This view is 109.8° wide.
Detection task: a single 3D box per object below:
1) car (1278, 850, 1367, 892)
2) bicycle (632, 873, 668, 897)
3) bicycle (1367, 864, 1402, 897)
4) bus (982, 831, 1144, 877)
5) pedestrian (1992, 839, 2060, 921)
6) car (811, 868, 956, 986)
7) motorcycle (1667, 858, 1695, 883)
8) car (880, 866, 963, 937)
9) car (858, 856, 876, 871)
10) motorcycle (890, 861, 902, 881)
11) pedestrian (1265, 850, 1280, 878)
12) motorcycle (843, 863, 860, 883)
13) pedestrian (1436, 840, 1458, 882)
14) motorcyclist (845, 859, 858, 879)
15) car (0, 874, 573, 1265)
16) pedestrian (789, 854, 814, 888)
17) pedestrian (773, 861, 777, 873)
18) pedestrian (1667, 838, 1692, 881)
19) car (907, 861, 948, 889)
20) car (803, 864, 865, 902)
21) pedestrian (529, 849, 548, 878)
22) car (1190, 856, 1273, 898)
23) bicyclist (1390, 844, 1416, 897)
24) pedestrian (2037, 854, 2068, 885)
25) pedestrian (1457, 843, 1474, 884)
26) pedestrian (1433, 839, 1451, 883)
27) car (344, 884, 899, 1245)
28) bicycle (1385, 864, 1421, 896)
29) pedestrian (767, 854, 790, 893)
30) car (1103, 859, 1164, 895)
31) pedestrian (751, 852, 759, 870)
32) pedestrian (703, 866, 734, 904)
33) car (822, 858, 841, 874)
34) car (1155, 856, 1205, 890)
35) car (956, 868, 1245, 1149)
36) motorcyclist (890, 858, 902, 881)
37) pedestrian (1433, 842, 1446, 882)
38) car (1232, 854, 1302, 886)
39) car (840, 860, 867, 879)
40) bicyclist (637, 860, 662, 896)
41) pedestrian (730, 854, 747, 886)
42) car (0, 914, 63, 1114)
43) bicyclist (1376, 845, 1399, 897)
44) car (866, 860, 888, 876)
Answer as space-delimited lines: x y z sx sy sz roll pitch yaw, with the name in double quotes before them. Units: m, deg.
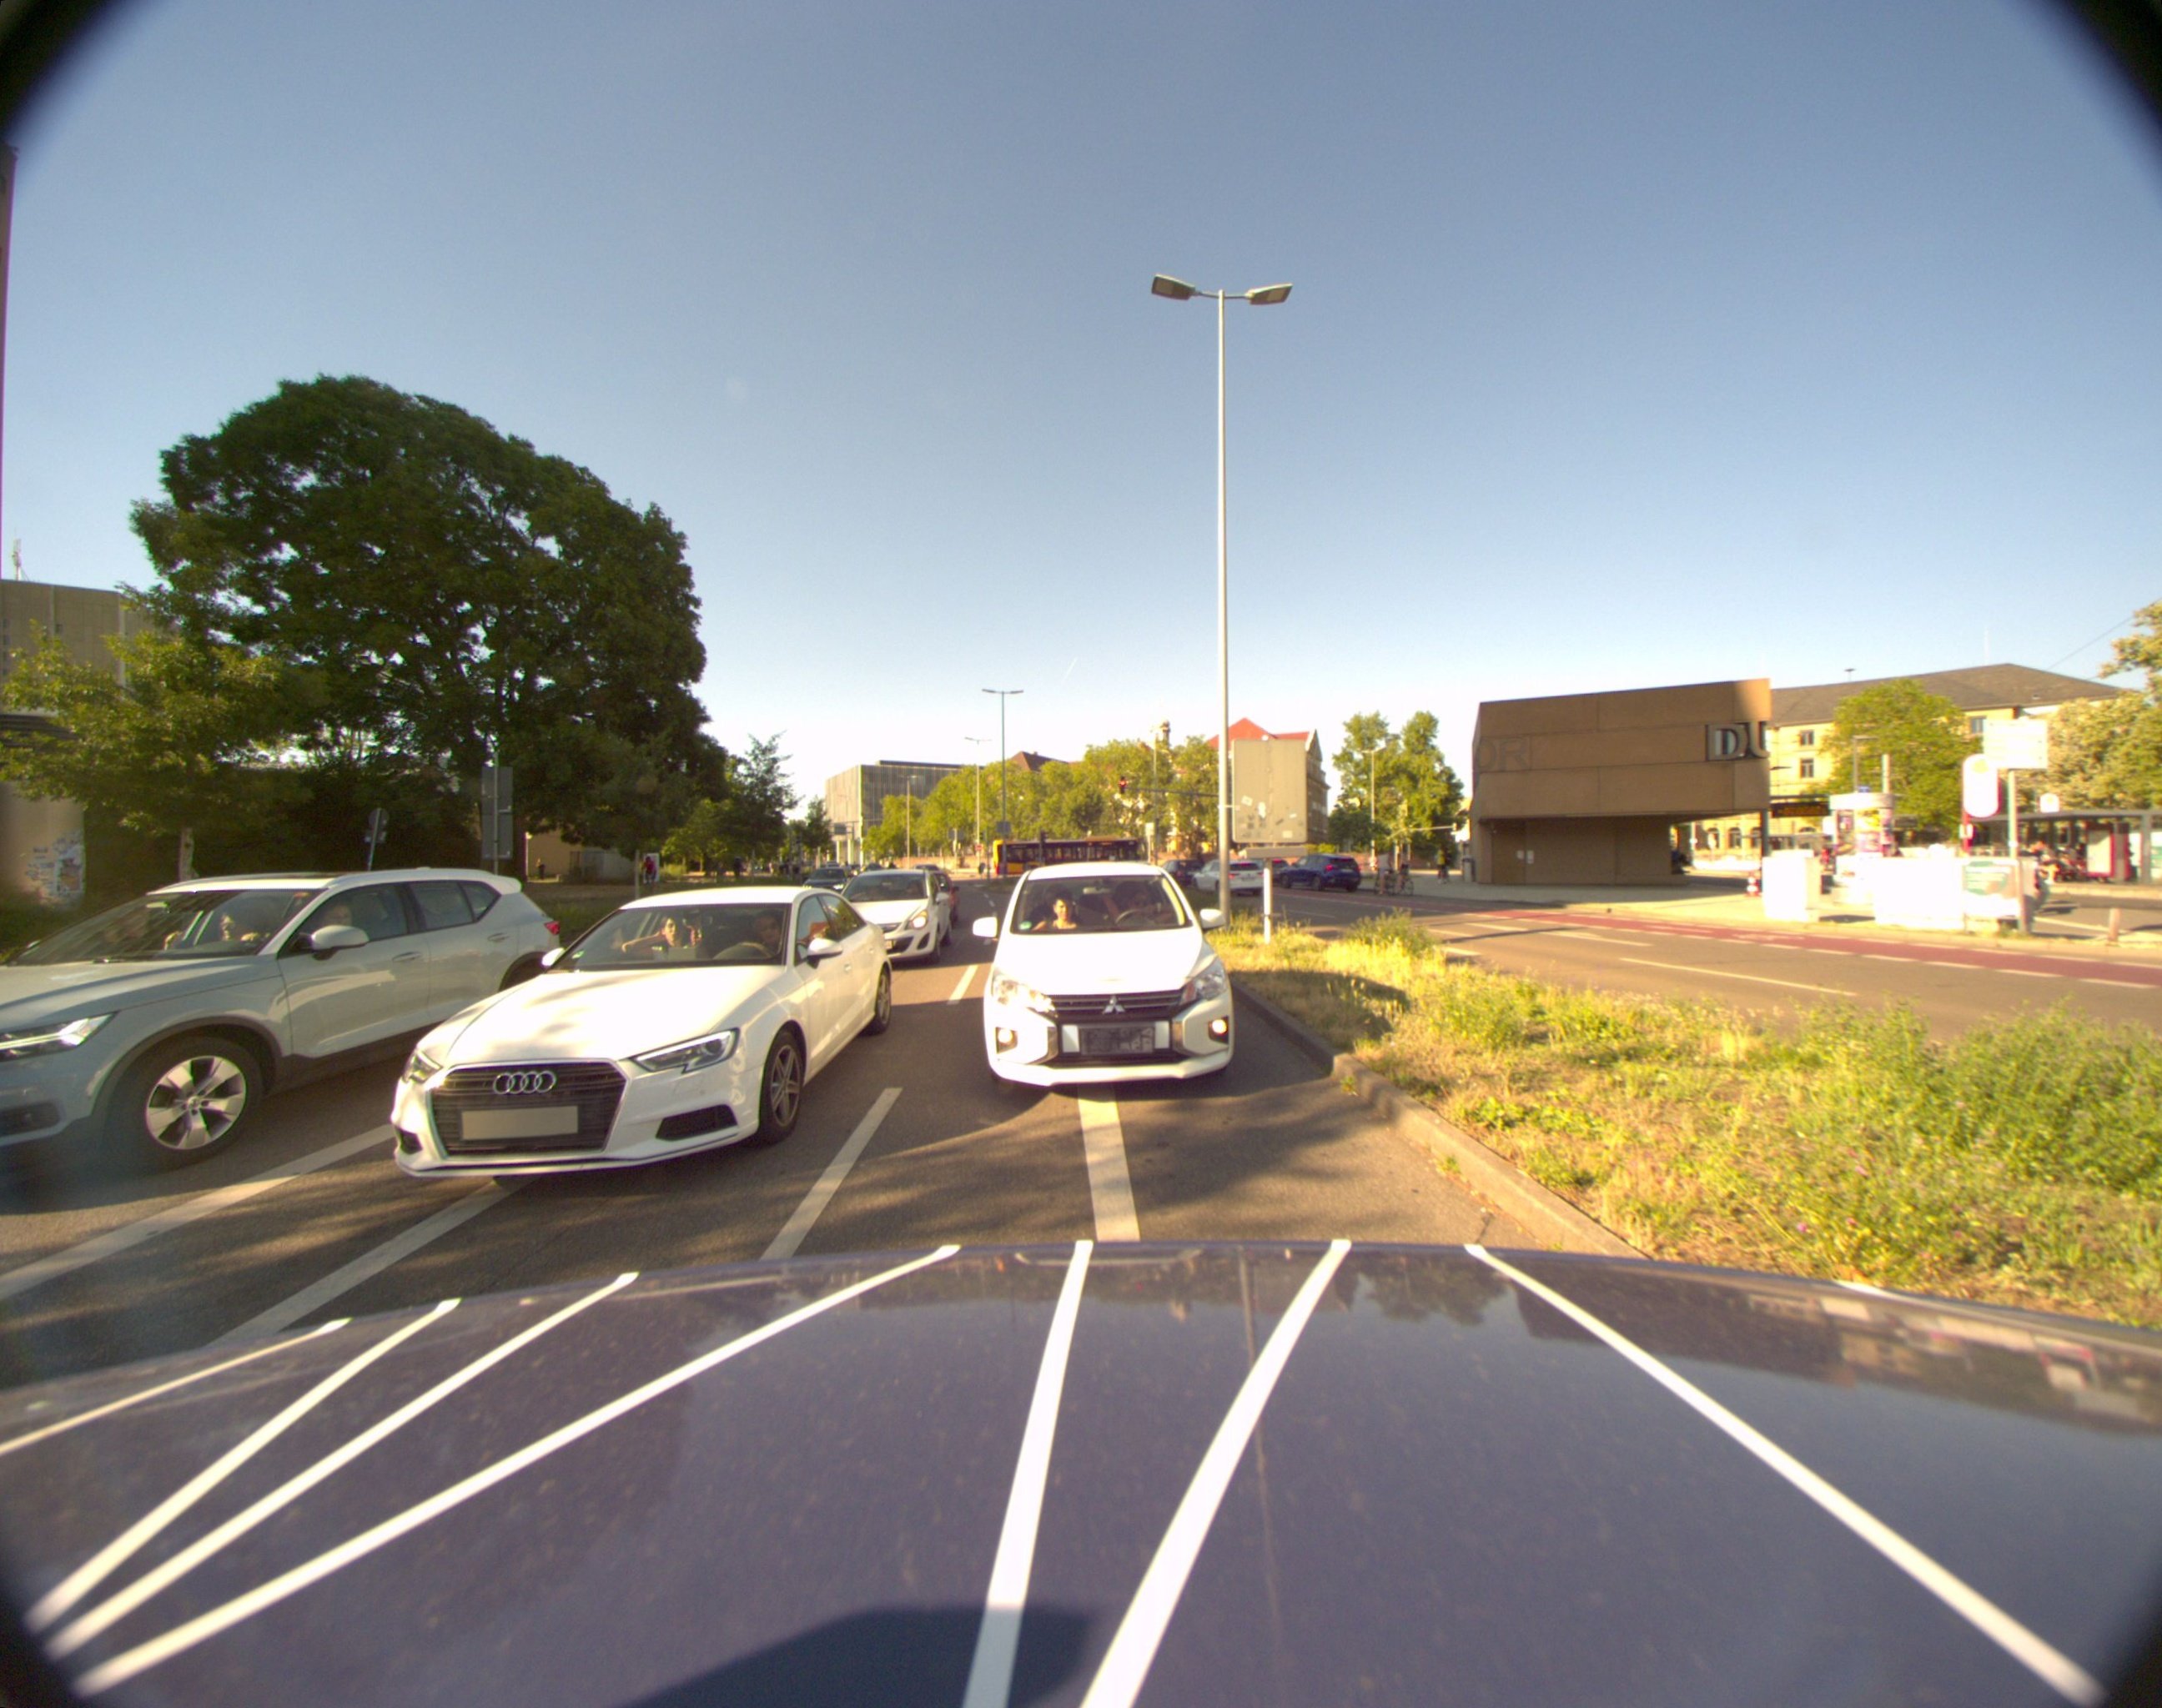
"car" 10.438 0.690 33.210 1.757 1.680 4.183 -1 0 -14
"bicycle" -19.157 1.369 33.789 0.660 0.958 2.033 0 1 -7
"bicycle" 11.720 1.013 29.404 0.464 1.185 1.395 -3 1 -17
"bus" -1.497 0.038 60.702 12.519 3.193 3.090 -2 1 18
"pedestrian" 20.720 0.562 16.671 0.713 1.748 0.583 -2 1 20
"car" -3.068 1.049 12.582 1.628 1.451 4.039 -2 1 -5
"motorcycle" 26.224 0.708 33.215 0.948 1.061 0.331 -1 1 39
"car" -3.890 1.098 19.100 1.628 1.451 4.039 -2 1 -7
"car" -25.619 1.148 90.875 1.748 1.696 3.993 -1 0 -21
"motorcycle" -13.238 1.208 54.353 0.718 1.297 2.232 -2 1 -13
"pedestrian" 13.030 0.649 51.718 0.797 1.886 0.612 0 1 40
"motorcycle" -15.310 1.251 50.682 0.718 1.297 2.233 -2 1 -9
"pedestrian" 17.954 0.347 37.251 0.777 2.002 0.773 -2 1 13
"motorcyclist" -15.267 0.970 50.576 0.718 1.297 0.735 -2 1 -9
"car" -5.744 1.053 5.261 1.628 1.611 4.223 -2 1 -2
"pedestrian" -16.804 1.008 45.686 1.143 2.002 1.285 -2 1 -10
"pedestrian" -42.889 1.818 106.578 0.399 1.676 0.483 -1 1 1
"pedestrian" 28.789 0.266 36.562 0.780 2.002 0.771 -3 2 -42
"car" -8.929 1.162 43.953 1.758 1.451 4.182 -3 1 -19
"car" -11.127 1.253 34.509 1.756 1.451 4.186 -2 1 -5
"pedestrian" -39.398 0.693 55.212 0.929 2.002 0.754 -3 1 -27
"car" 6.079 0.890 31.299 1.850 1.483 4.388 -2 1 -10
"bicyclist" 12.480 0.637 29.416 0.611 2.002 0.708 -1 1 -15
"pedestrian" 39.014 0.613 30.509 0.539 1.180 0.659 -2 1 29
"pedestrian" 19.126 0.454 37.759 0.655 2.002 0.469 -2 1 20
"pedestrian" 16.724 0.327 35.195 0.655 2.002 0.469 -2 1 20
"car" -2.548 1.036 5.393 1.628 1.396 3.832 -2 1 -2
"bicycle" 12.481 0.983 29.488 0.464 1.185 1.395 -3 1 -17
"pedestrian" -16.093 1.039 40.427 0.895 2.002 0.881 -2 1 -10
"car" 2.329 0.992 34.989 1.757 1.451 4.185 -2 1 -10
"pedestrian" -28.644 0.612 66.752 0.548 1.597 0.603 -3 1 -19
"pedestrian" -16.852 1.425 35.369 1.010 1.711 0.884 -2 1 -10
"car" -27.141 1.250 82.623 1.748 1.696 3.993 -1 0 -21
"car" 4.776 0.882 37.288 1.755 1.451 4.187 -2 1 -2
"car" 0.063 0.932 6.437 1.628 1.451 4.040 -2 1 -2
"motorcyclist" -13.220 1.085 54.281 0.711 1.581 0.689 -2 1 -13
"pedestrian" 18.220 0.402 38.629 0.467 2.002 0.657 -2 1 17
"car" 9.458 0.791 38.973 1.850 1.483 4.388 1 0 -10
"car" -20.276 1.361 67.872 1.746 1.516 3.996 -1 0 -9
"bicyclist" -19.144 1.051 33.725 0.617 1.551 0.870 -2 1 -8
"pedestrian" -17.505 0.831 38.853 0.596 1.585 0.594 -2 1 -8
"car" -8.752 1.241 3.886 1.628 1.451 4.040 -2 1 -2
"bicyclist" 11.782 0.647 29.238 0.611 2.002 0.565 -1 1 -15
"car" -20.235 1.331 75.207 1.748 1.536 3.993 -1 0 -20
